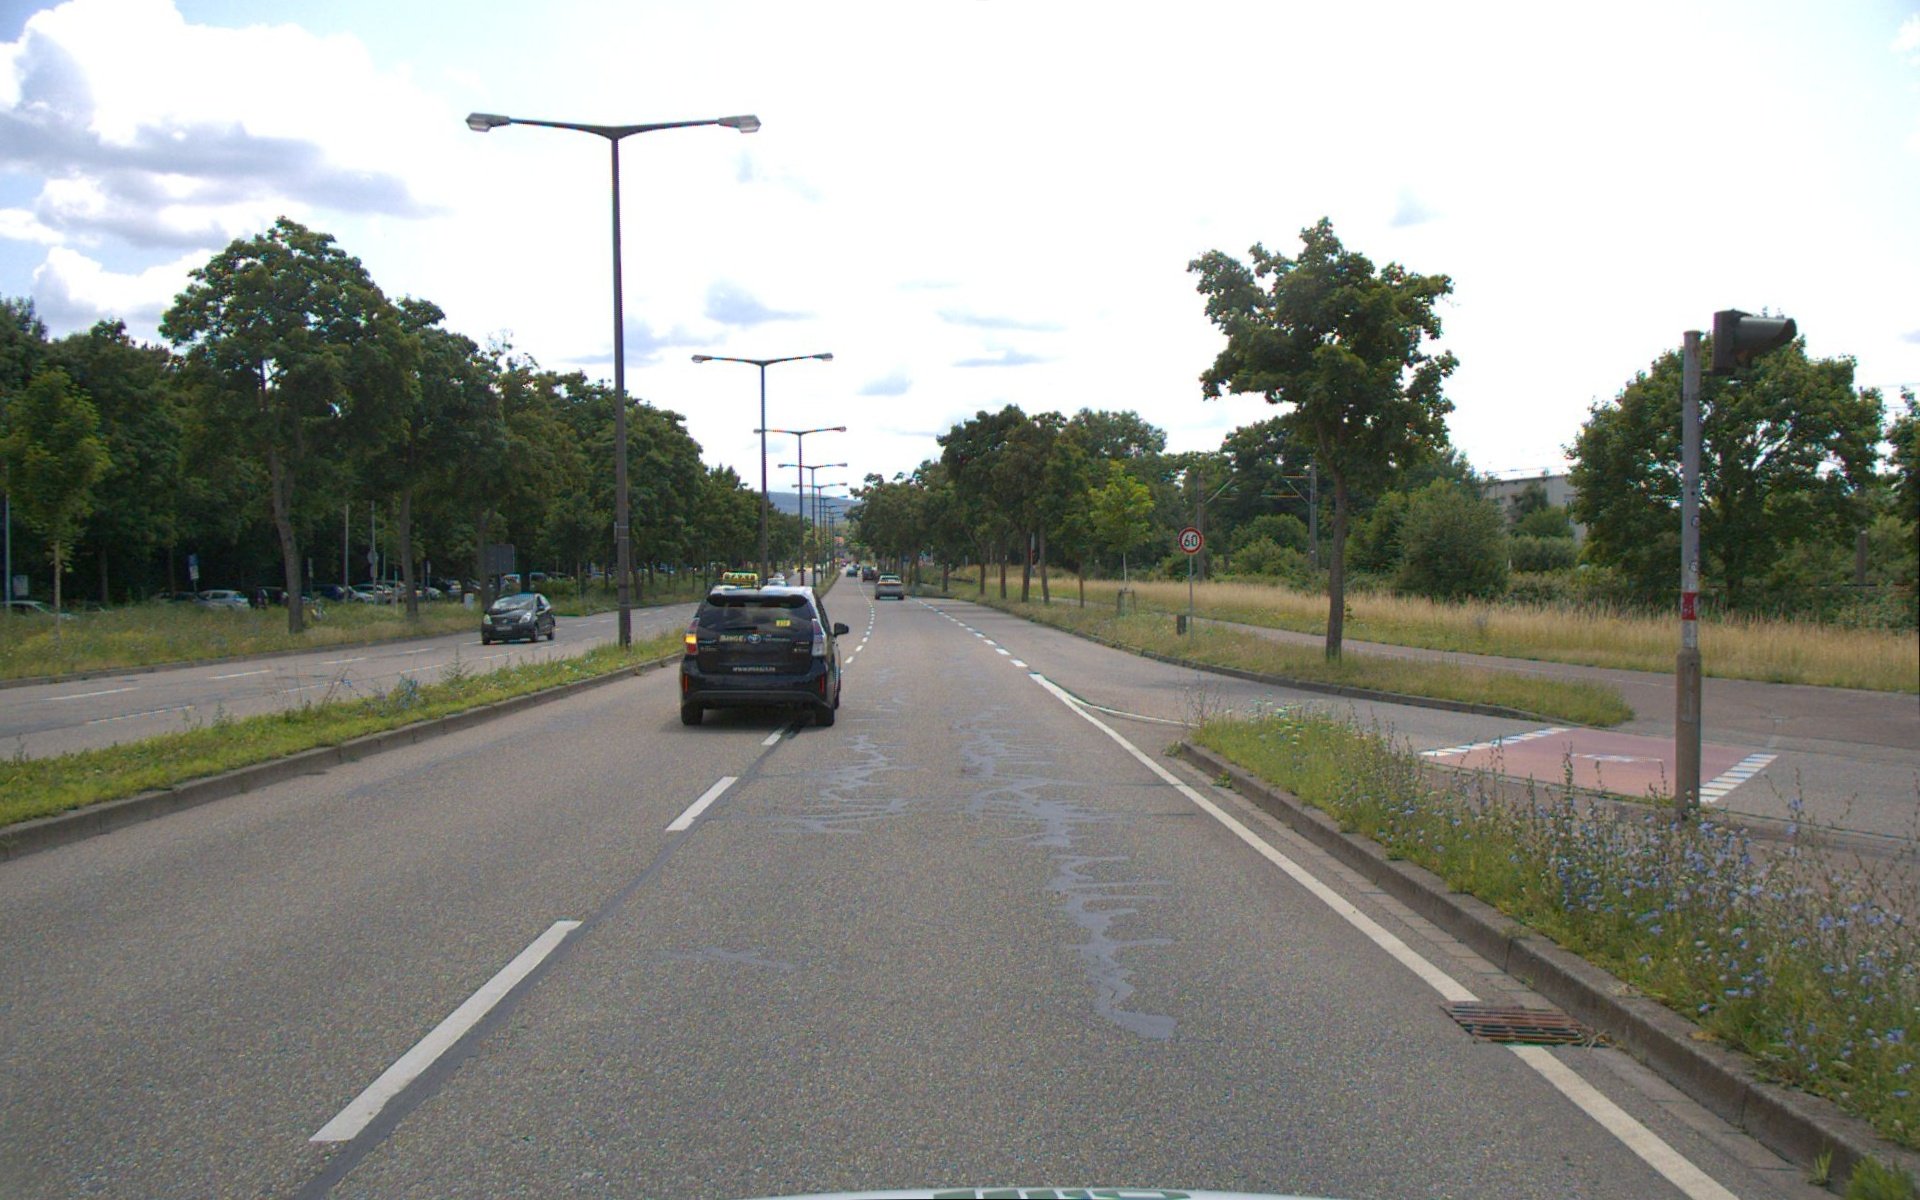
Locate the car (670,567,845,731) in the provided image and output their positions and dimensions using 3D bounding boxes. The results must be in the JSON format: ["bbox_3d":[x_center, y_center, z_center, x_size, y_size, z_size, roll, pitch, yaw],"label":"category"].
[{"bbox_3d":[-2.306,0.487,19.741,1.744,1.713,3.999,1,1,-3],"label":"car"}]

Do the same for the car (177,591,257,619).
[{"bbox_3d":[-41.788,0.269,93.095,3.710,1.453,1.785,1,1,-3],"label":"car"}]

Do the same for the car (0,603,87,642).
[{"bbox_3d":[-39.006,0.926,69.501,3.708,1.534,1.785,1,1,-2],"label":"car"}]

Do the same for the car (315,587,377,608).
[{"bbox_3d":[-43.230,-0.179,116.544,3.707,1.412,1.786,1,1,1],"label":"car"}]

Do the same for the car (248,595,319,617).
[{"bbox_3d":[-42.288,0.387,103.375,3.710,1.269,1.785,1,1,-3],"label":"car"}]

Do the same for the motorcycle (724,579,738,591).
[{"bbox_3d":[-16.561,-1.069,119.867,0.736,0.785,2.670,1,1,-2],"label":"motorcycle"}]

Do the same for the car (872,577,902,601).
[{"bbox_3d":[-5.144,-0.798,116.025,1.954,1.534,3.997,1,1,-5],"label":"car"}]

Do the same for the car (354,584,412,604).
[{"bbox_3d":[-44.028,-0.456,126.238,3.707,1.412,1.786,1,1,1],"label":"car"}]

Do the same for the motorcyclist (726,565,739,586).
[{"bbox_3d":[-16.532,-1.780,120.052,0.810,1.438,1.328,1,1,-3],"label":"motorcyclist"}]

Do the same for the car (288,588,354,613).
[{"bbox_3d":[-42.814,0.024,110.913,3.707,1.595,1.786,1,1,1],"label":"car"}]

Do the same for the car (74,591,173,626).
[{"bbox_3d":[-39.051,0.391,77.245,3.708,1.534,1.785,1,1,-2],"label":"car"}]

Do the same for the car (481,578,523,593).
[{"bbox_3d":[-46.628,-1.502,168.323,3.707,1.412,1.786,1,1,1],"label":"car"}]

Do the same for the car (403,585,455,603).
[{"bbox_3d":[-43.337,-0.510,135.045,3.707,1.412,1.786,1,1,1],"label":"car"}]

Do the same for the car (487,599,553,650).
[{"bbox_3d":[-13.112,0.697,49.433,1.671,1.452,3.665,-1,0,-11],"label":"car"}]

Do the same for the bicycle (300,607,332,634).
[{"bbox_3d":[-24.732,0.790,63.511,0.555,0.995,1.916,-1,1,-3],"label":"bicycle"}]

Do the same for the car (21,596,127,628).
[{"bbox_3d":[-39.053,0.521,72.951,3.708,1.289,1.785,1,1,-2],"label":"car"}]

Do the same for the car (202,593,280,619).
[{"bbox_3d":[-41.775,0.361,96.150,3.710,1.410,1.785,1,1,-3],"label":"car"}]

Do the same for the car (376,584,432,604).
[{"bbox_3d":[-43.482,-0.486,129.339,3.707,1.412,1.786,1,1,1],"label":"car"}]

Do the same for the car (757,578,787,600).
[{"bbox_3d":[-13.242,-0.795,116.654,1.774,1.422,4.731,-1,1,-3],"label":"car"}]

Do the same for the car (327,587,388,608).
[{"bbox_3d":[-43.433,-0.200,119.286,3.707,1.412,1.786,1,1,1],"label":"car"}]
